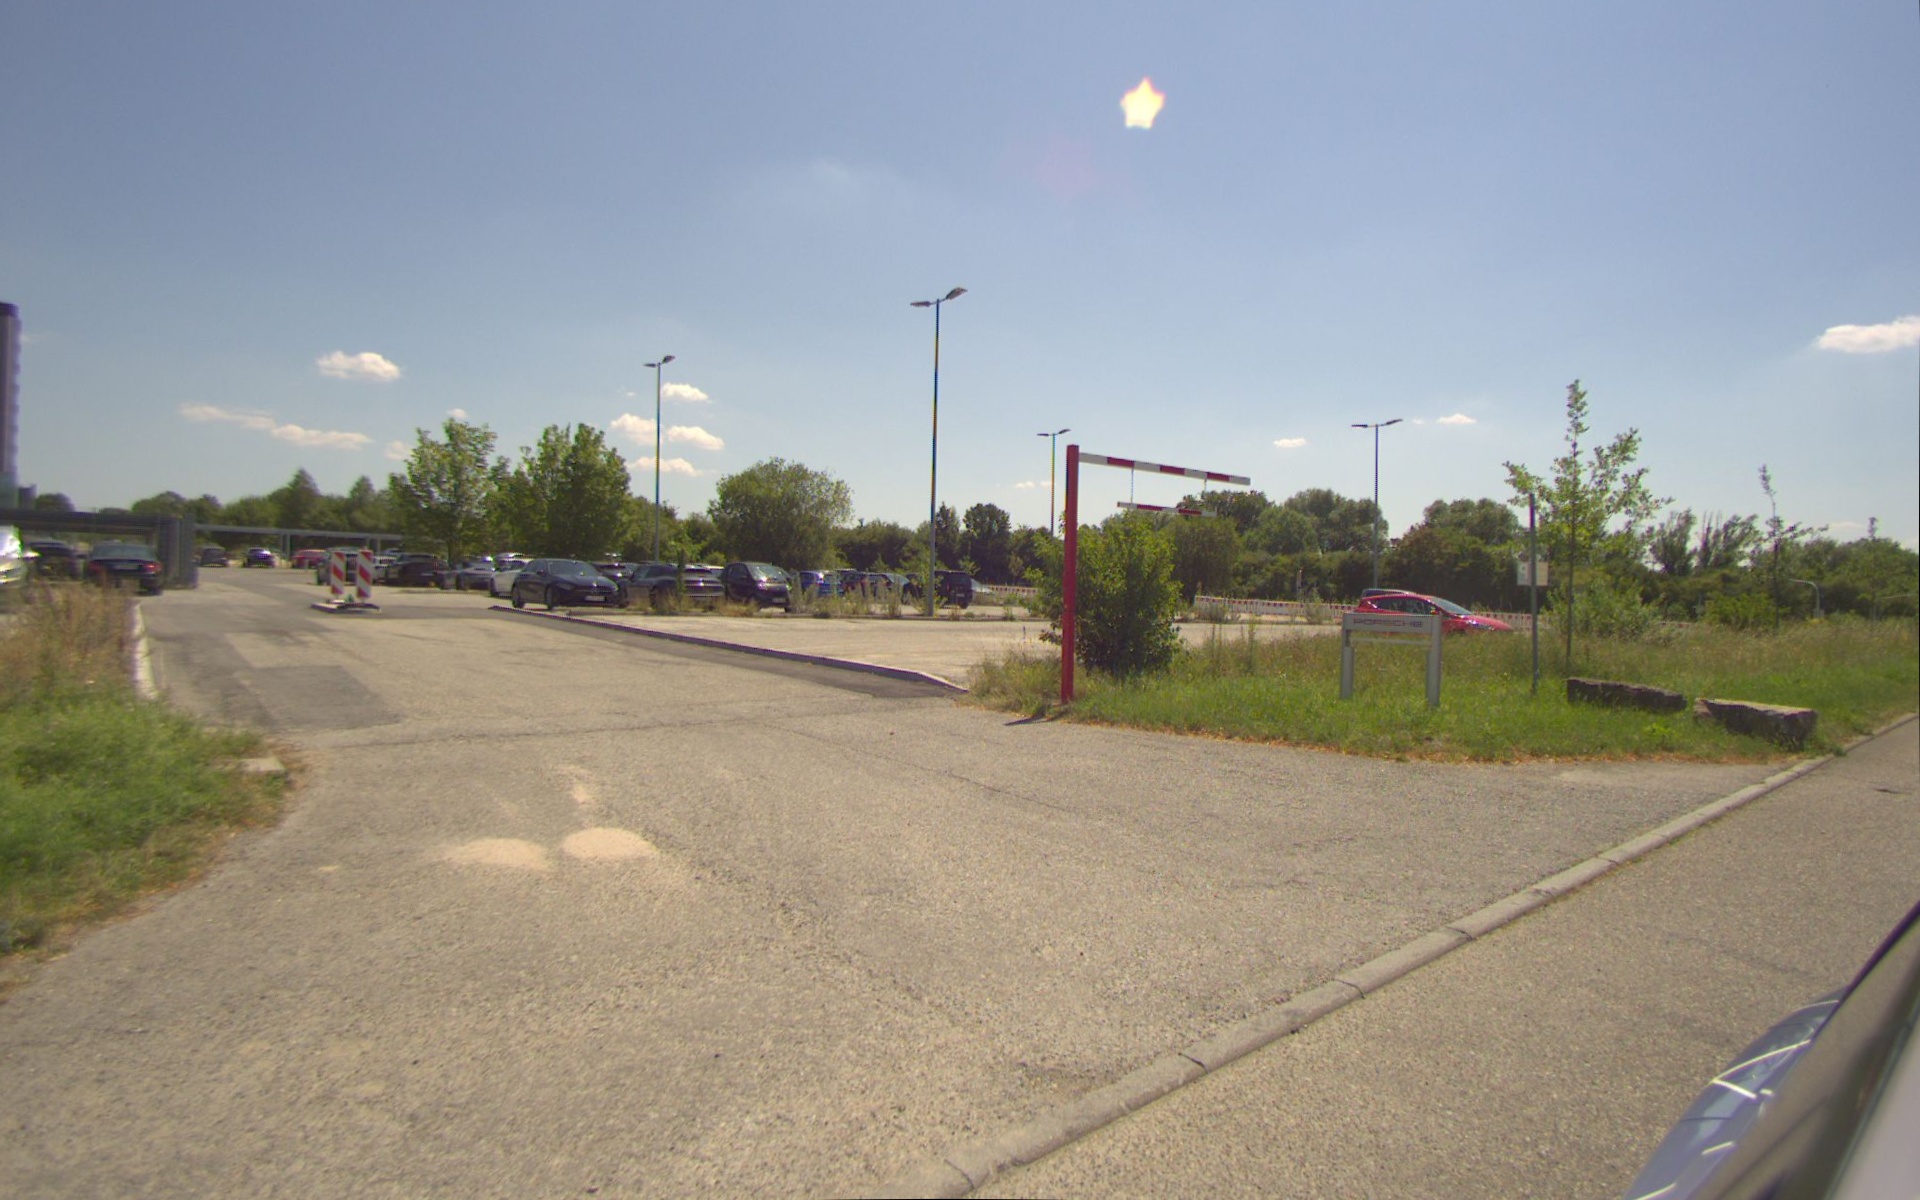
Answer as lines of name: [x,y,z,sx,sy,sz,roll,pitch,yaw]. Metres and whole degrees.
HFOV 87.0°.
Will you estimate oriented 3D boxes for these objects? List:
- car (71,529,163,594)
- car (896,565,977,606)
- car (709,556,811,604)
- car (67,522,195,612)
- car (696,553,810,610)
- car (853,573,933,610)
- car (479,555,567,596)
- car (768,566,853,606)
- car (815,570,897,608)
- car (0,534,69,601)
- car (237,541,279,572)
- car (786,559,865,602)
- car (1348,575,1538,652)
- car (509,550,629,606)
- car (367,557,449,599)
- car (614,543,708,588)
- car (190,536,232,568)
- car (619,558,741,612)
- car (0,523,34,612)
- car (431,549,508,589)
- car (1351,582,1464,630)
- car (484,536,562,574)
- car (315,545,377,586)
car: [-24.434,-1.144,29.277,1.738,1.616,3.993,5,-1,-43]
car: [-1.186,-0.731,49.371,1.728,1.779,3.994,3,1,-42]
car: [-8.351,-0.839,42.103,3.981,1.660,1.972,5,-1,38]
car: [-17.482,-0.731,21.285,1.738,1.616,3.993,5,-1,-43]
car: [-6.636,-0.621,32.203,1.893,1.661,3.996,1,2,-40]
car: [-3.704,-0.473,55.728,3.981,1.660,1.972,5,-1,38]
car: [-16.054,-0.904,37.095,1.668,1.358,3.991,0,2,-44]
car: [-6.645,-0.620,44.767,1.705,1.482,3.801,5,-1,-44]
car: [-5.526,-0.594,53.546,3.981,1.660,1.972,5,-1,38]
car: [-25.856,-0.946,27.885,1.738,1.616,3.993,5,-1,-43]
car: [-51.821,-3.243,74.662,1.965,2.039,3.995,5,-1,-42]
car: [-6.953,-1.021,52.093,1.966,1.905,3.992,5,-1,-44]
car: [12.440,0.291,26.244,1.893,1.745,3.996,1,2,-40]
car: [-10.839,-0.623,27.886,1.893,1.412,3.996,1,2,-40]
car: [-26.669,-1.077,48.844,3.981,1.660,1.972,5,-1,38]
car: [-13.232,-1.519,44.681,3.981,1.660,1.972,5,-1,38]
car: [-53.962,-3.440,72.879,1.965,2.039,3.995,5,-1,-42]
car: [-8.113,-0.460,29.134,1.893,1.412,3.996,1,2,-40]
car: [-19.409,-0.755,19.831,1.738,1.616,3.993,5,-1,-43]
car: [-20.005,-1.275,41.211,1.668,1.538,3.991,0,2,-44]
car: [21.213,0.251,48.096,1.906,1.938,4.471,3,1,-41]
car: [-22.643,-2.352,52.365,3.981,1.660,1.972,5,-1,38]
car: [-29.133,-1.649,47.963,1.762,1.660,3.996,5,-1,-41]
